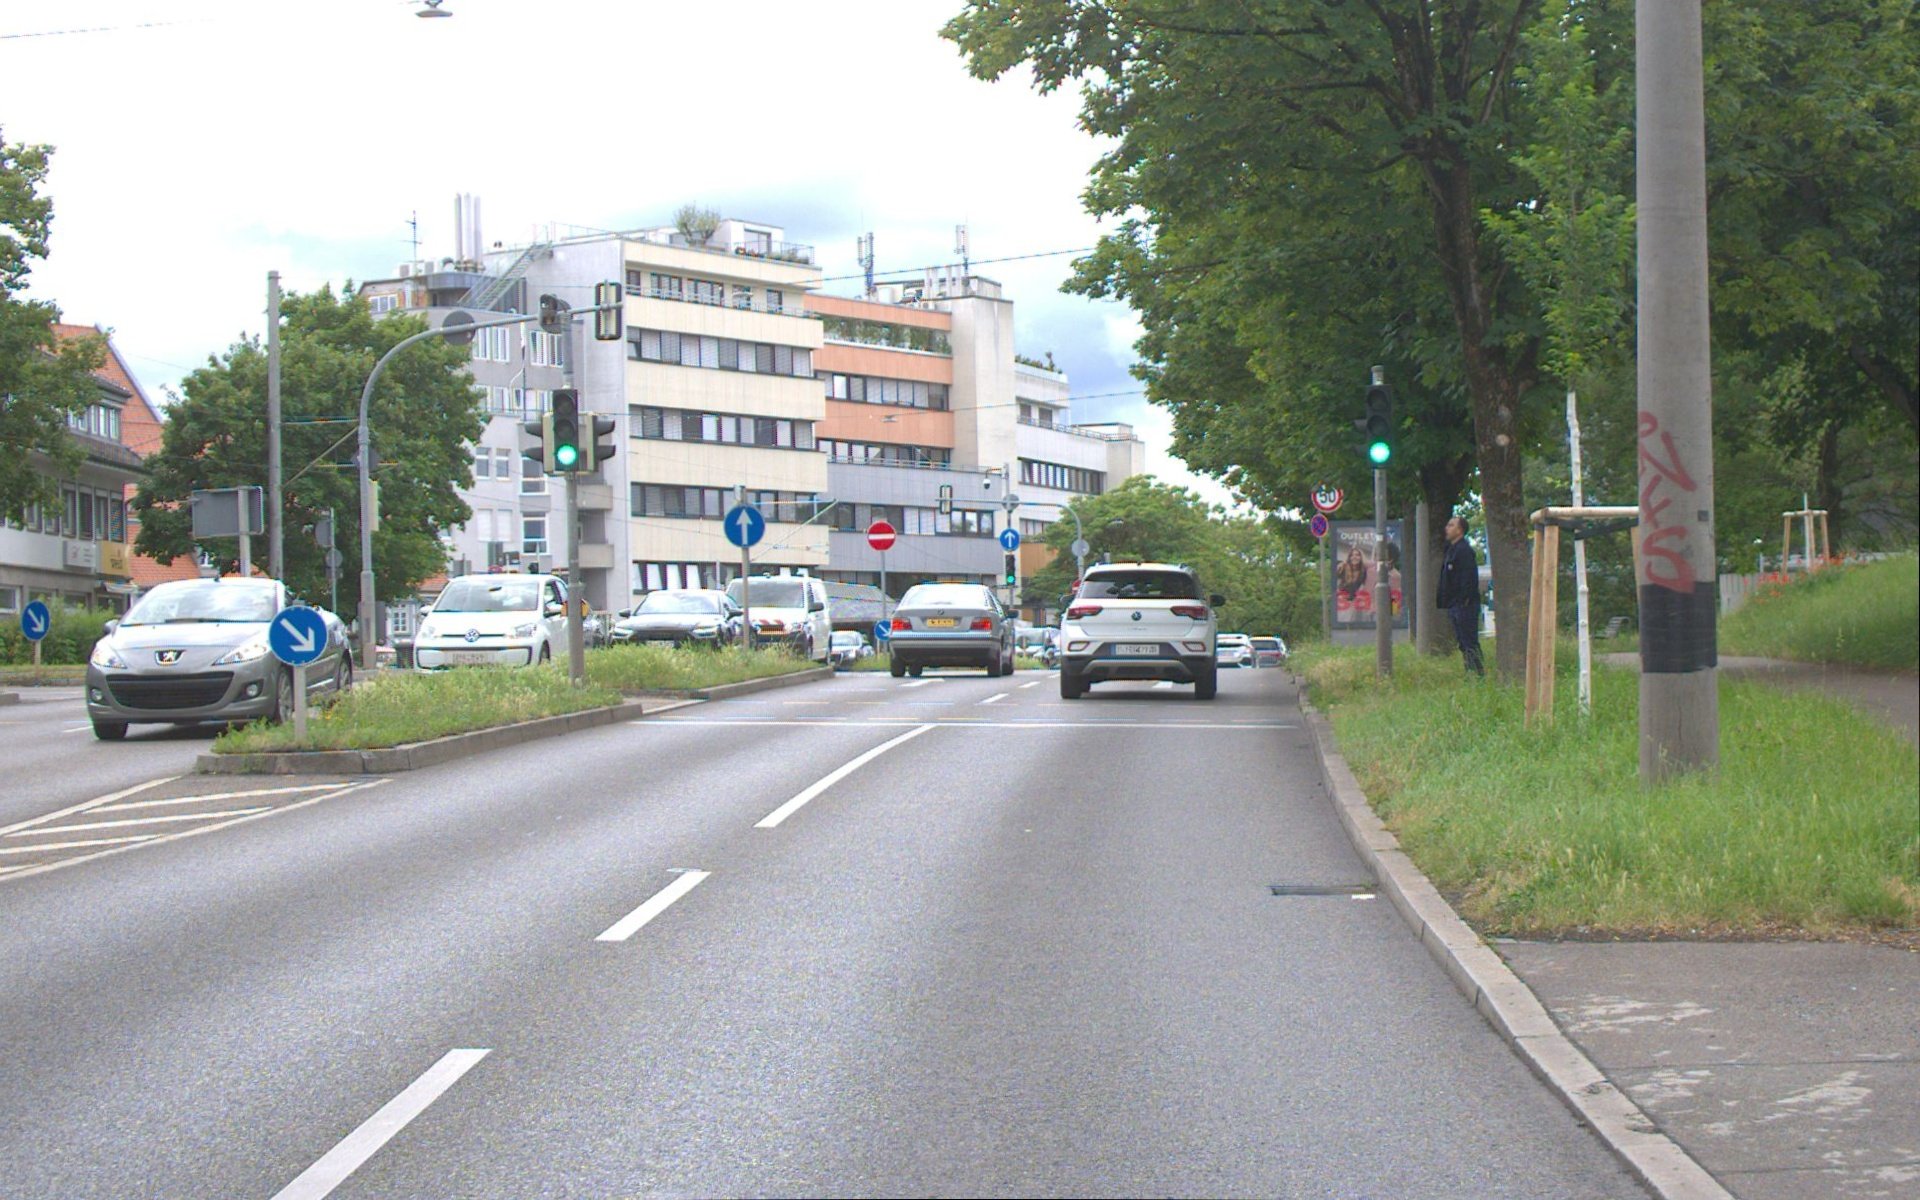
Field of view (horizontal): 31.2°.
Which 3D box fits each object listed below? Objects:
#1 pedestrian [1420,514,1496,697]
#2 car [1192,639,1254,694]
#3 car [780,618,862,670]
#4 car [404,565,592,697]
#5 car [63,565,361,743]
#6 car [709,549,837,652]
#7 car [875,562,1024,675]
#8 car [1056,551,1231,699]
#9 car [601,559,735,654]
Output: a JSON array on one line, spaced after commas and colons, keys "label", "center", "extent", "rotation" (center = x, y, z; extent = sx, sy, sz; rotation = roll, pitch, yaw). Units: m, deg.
[{"label": "pedestrian", "center": [5.102, 0.049, 35.250], "extent": [0.642, 1.849, 0.673], "rotation": [-1, 1, -1]}, {"label": "car", "center": [8.391, 2.119, 110.020], "extent": [1.770, 1.565, 4.285], "rotation": [-1, 1, 2]}, {"label": "car", "center": [-4.040, 1.281, 100.661], "extent": [1.861, 1.423, 3.999], "rotation": [-1, 0, 5]}, {"label": "car", "center": [-5.856, 0.359, 43.969], "extent": [1.777, 1.560, 4.000], "rotation": [-1, 1, 1]}, {"label": "car", "center": [-6.747, 0.443, 31.420], "extent": [1.777, 1.476, 3.980], "rotation": [-1, 1, 1]}, {"label": "car", "center": [-3.719, -0.029, 69.079], "extent": [1.836, 1.995, 4.856], "rotation": [0, 1, 6]}, {"label": "car", "center": [-0.125, 0.241, 51.225], "extent": [1.700, 1.510, 3.735], "rotation": [-1, 2, 8]}, {"label": "car", "center": [2.196, 0.250, 40.330], "extent": [1.700, 1.543, 3.735], "rotation": [2, 2, 8]}, {"label": "car", "center": [-4.884, 0.080, 58.091], "extent": [1.777, 1.476, 4.481], "rotation": [-2, 1, 1]}]
